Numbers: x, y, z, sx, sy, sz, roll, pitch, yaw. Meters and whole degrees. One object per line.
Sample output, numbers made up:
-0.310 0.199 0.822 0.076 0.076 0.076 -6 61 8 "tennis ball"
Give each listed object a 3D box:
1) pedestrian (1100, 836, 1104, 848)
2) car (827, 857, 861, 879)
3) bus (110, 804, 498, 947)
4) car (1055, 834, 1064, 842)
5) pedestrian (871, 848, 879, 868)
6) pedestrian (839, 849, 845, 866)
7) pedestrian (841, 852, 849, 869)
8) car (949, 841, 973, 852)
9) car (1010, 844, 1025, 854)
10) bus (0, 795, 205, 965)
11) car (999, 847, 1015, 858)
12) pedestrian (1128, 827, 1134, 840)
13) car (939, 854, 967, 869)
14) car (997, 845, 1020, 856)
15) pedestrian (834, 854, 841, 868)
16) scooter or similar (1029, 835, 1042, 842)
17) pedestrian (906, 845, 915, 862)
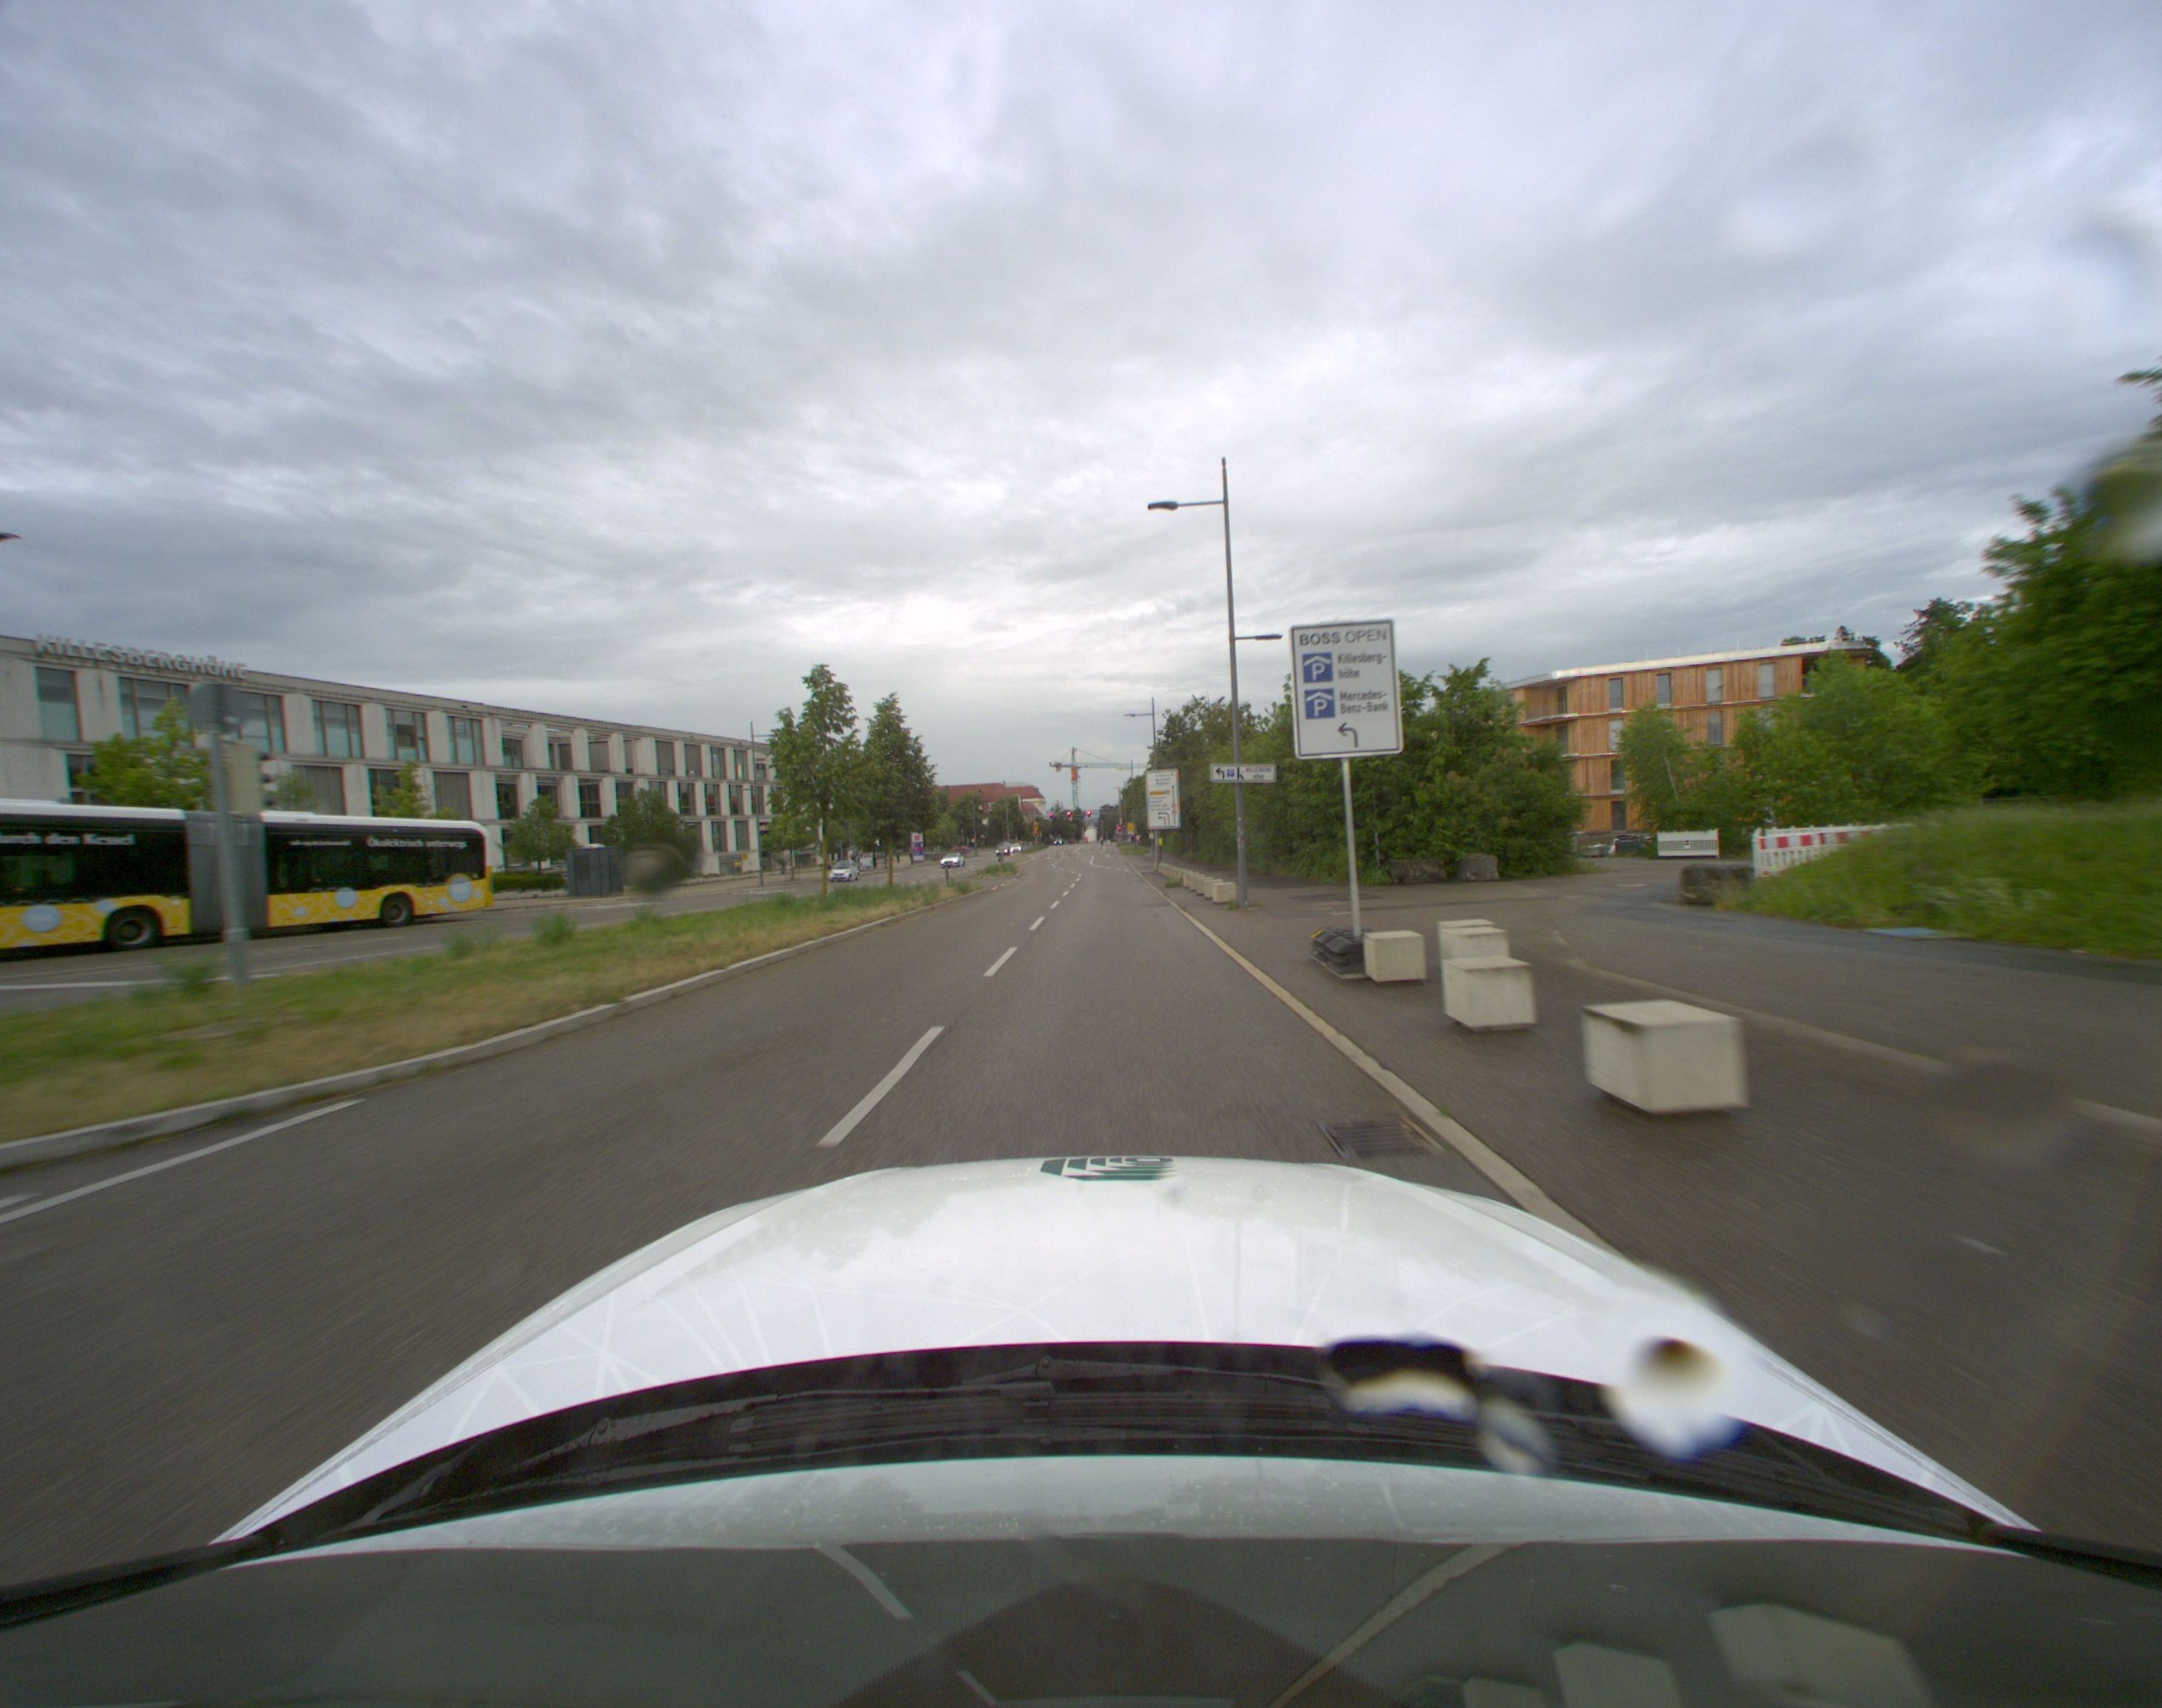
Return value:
3.635 -2.090 140.312 0.398 2.013 0.515 -6 1 8 "pedestrian"
-17.978 1.022 61.835 1.607 1.508 2.974 -2 1 2 "car"
-22.207 0.537 24.239 2.805 3.472 8.252 -1 0 9 "bus"
-5.205 -3.929 198.044 1.987 1.838 4.000 -1 0 0 "car"
-20.321 0.392 80.238 0.505 1.842 0.756 -3 1 1 "pedestrian"
-25.843 0.374 88.066 0.424 1.725 0.621 -3 1 2 "pedestrian"
-24.985 0.688 86.188 0.522 1.725 0.567 -3 1 4 "pedestrian"
-23.529 -1.404 159.522 3.951 1.916 2.012 -3 1 24 "car"
-10.832 -0.845 139.239 1.866 1.429 4.178 -5 1 2 "car"
-23.647 0.559 15.197 2.805 3.472 9.999 -1 0 9 "bus"
-10.805 -0.274 118.986 1.840 1.462 3.869 -4 1 2 "car"
7.823 -3.207 127.292 0.639 1.900 0.717 -4 1 -4 "pedestrian"
-13.267 0.770 84.427 1.986 1.418 4.515 -3 1 2 "car"
-13.655 -0.652 153.542 3.948 1.878 2.013 -1 0 38 "car"
-26.039 0.699 87.058 0.424 1.451 0.510 -3 1 2 "pedestrian"
-11.290 -3.818 200.724 3.078 1.440 0.949 -4 2 -1 "scooter or similar"
-19.626 -0.044 93.779 0.750 1.842 0.747 -3 1 4 "pedestrian"
